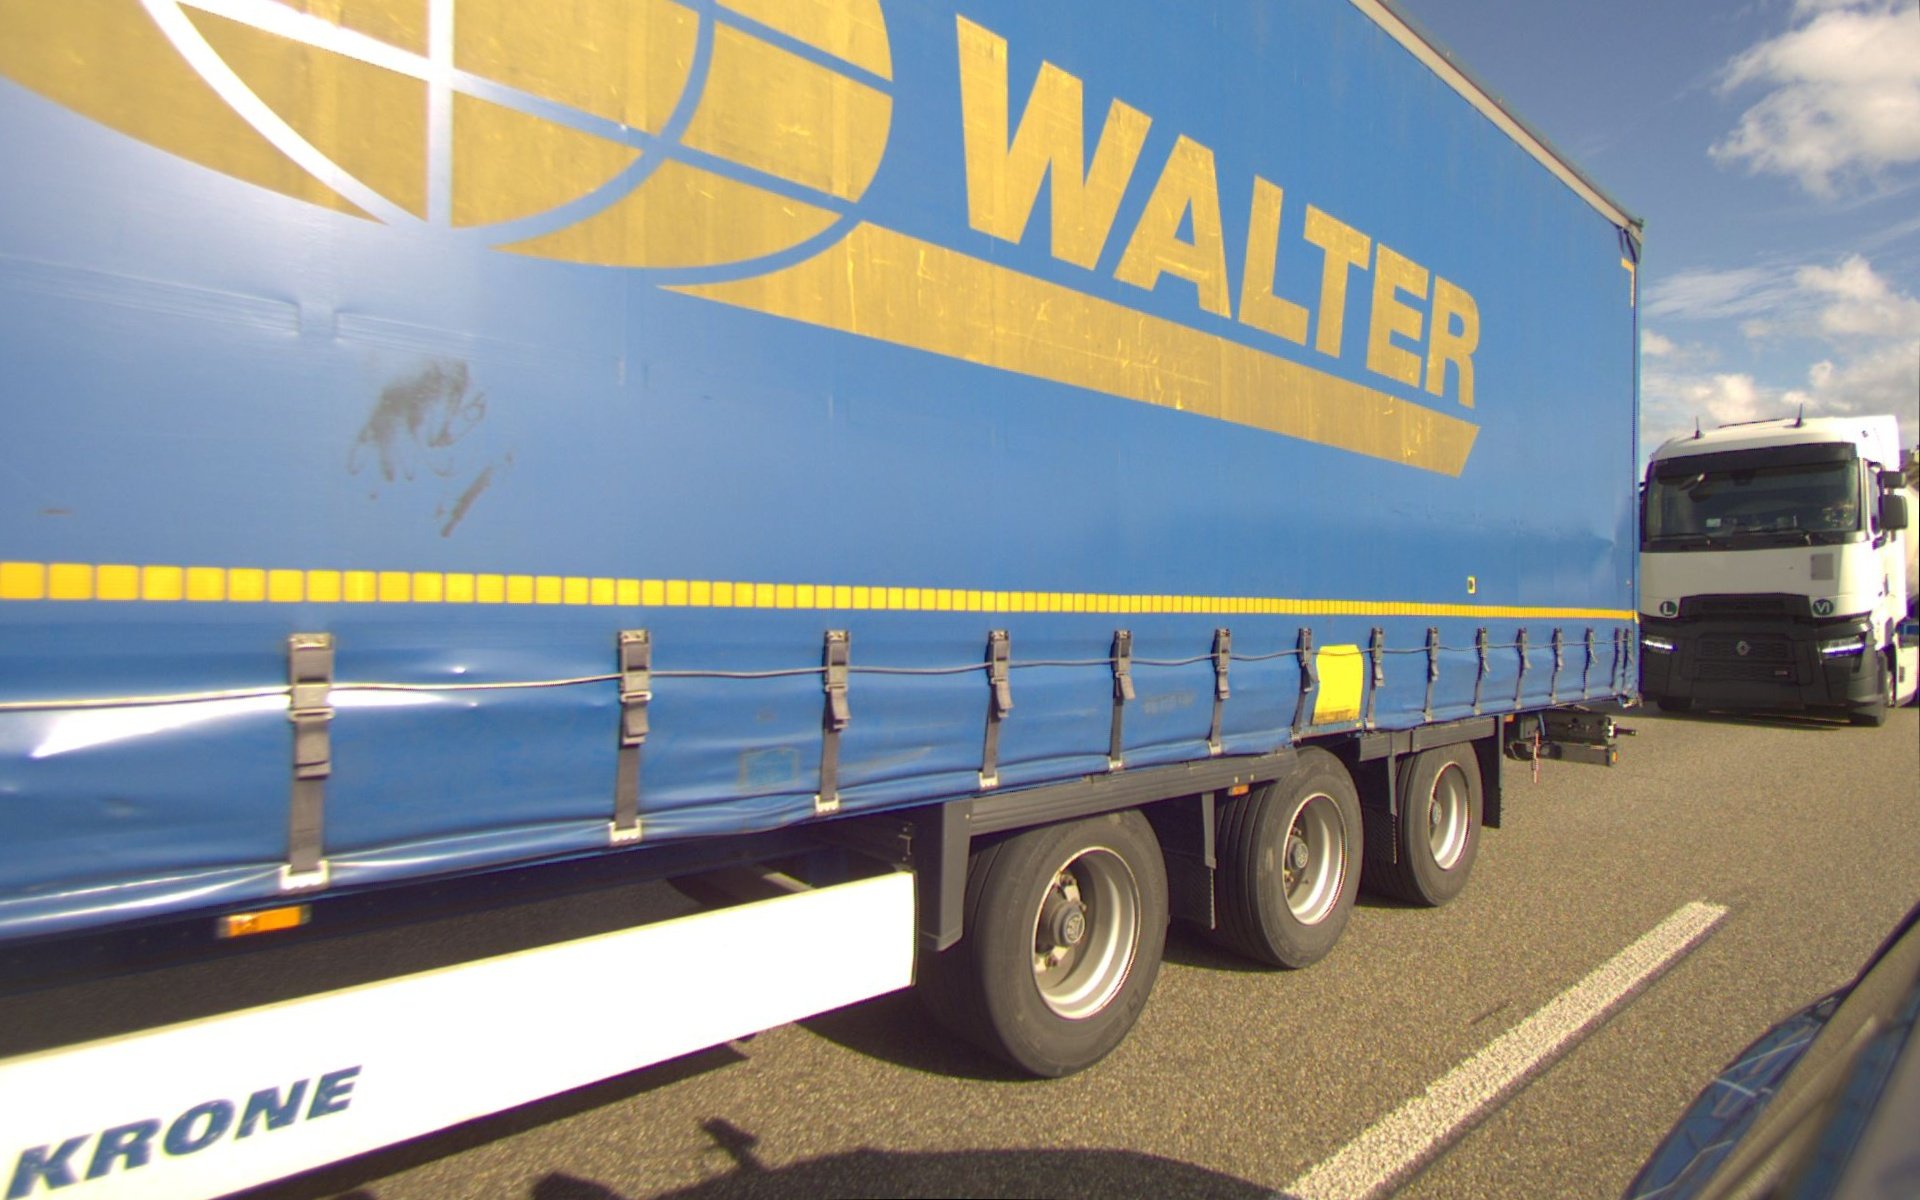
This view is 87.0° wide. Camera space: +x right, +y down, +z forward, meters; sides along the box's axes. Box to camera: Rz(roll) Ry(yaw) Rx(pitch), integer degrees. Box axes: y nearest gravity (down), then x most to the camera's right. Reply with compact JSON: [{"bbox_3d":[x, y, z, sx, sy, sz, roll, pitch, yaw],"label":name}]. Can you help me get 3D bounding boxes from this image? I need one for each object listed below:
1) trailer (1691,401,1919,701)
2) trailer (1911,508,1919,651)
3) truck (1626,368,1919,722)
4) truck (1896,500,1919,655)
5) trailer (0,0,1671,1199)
[{"bbox_3d":[16.047,-0.573,17.988,10.980,3.985,2.650,1,-1,-42],"label":"trailer"},{"bbox_3d":[33.125,-0.473,32.654,14.051,4.047,2.332,1,0,-42],"label":"trailer"},{"bbox_3d":[12.228,-0.567,14.614,6.820,3.975,2.653,1,-1,-41],"label":"truck"},{"bbox_3d":[27.872,-0.530,27.942,5.999,4.072,2.369,1,0,-42],"label":"truck"},{"bbox_3d":[-1.367,-0.701,3.088,13.738,4.150,2.646,-1,0,-41],"label":"trailer"}]
